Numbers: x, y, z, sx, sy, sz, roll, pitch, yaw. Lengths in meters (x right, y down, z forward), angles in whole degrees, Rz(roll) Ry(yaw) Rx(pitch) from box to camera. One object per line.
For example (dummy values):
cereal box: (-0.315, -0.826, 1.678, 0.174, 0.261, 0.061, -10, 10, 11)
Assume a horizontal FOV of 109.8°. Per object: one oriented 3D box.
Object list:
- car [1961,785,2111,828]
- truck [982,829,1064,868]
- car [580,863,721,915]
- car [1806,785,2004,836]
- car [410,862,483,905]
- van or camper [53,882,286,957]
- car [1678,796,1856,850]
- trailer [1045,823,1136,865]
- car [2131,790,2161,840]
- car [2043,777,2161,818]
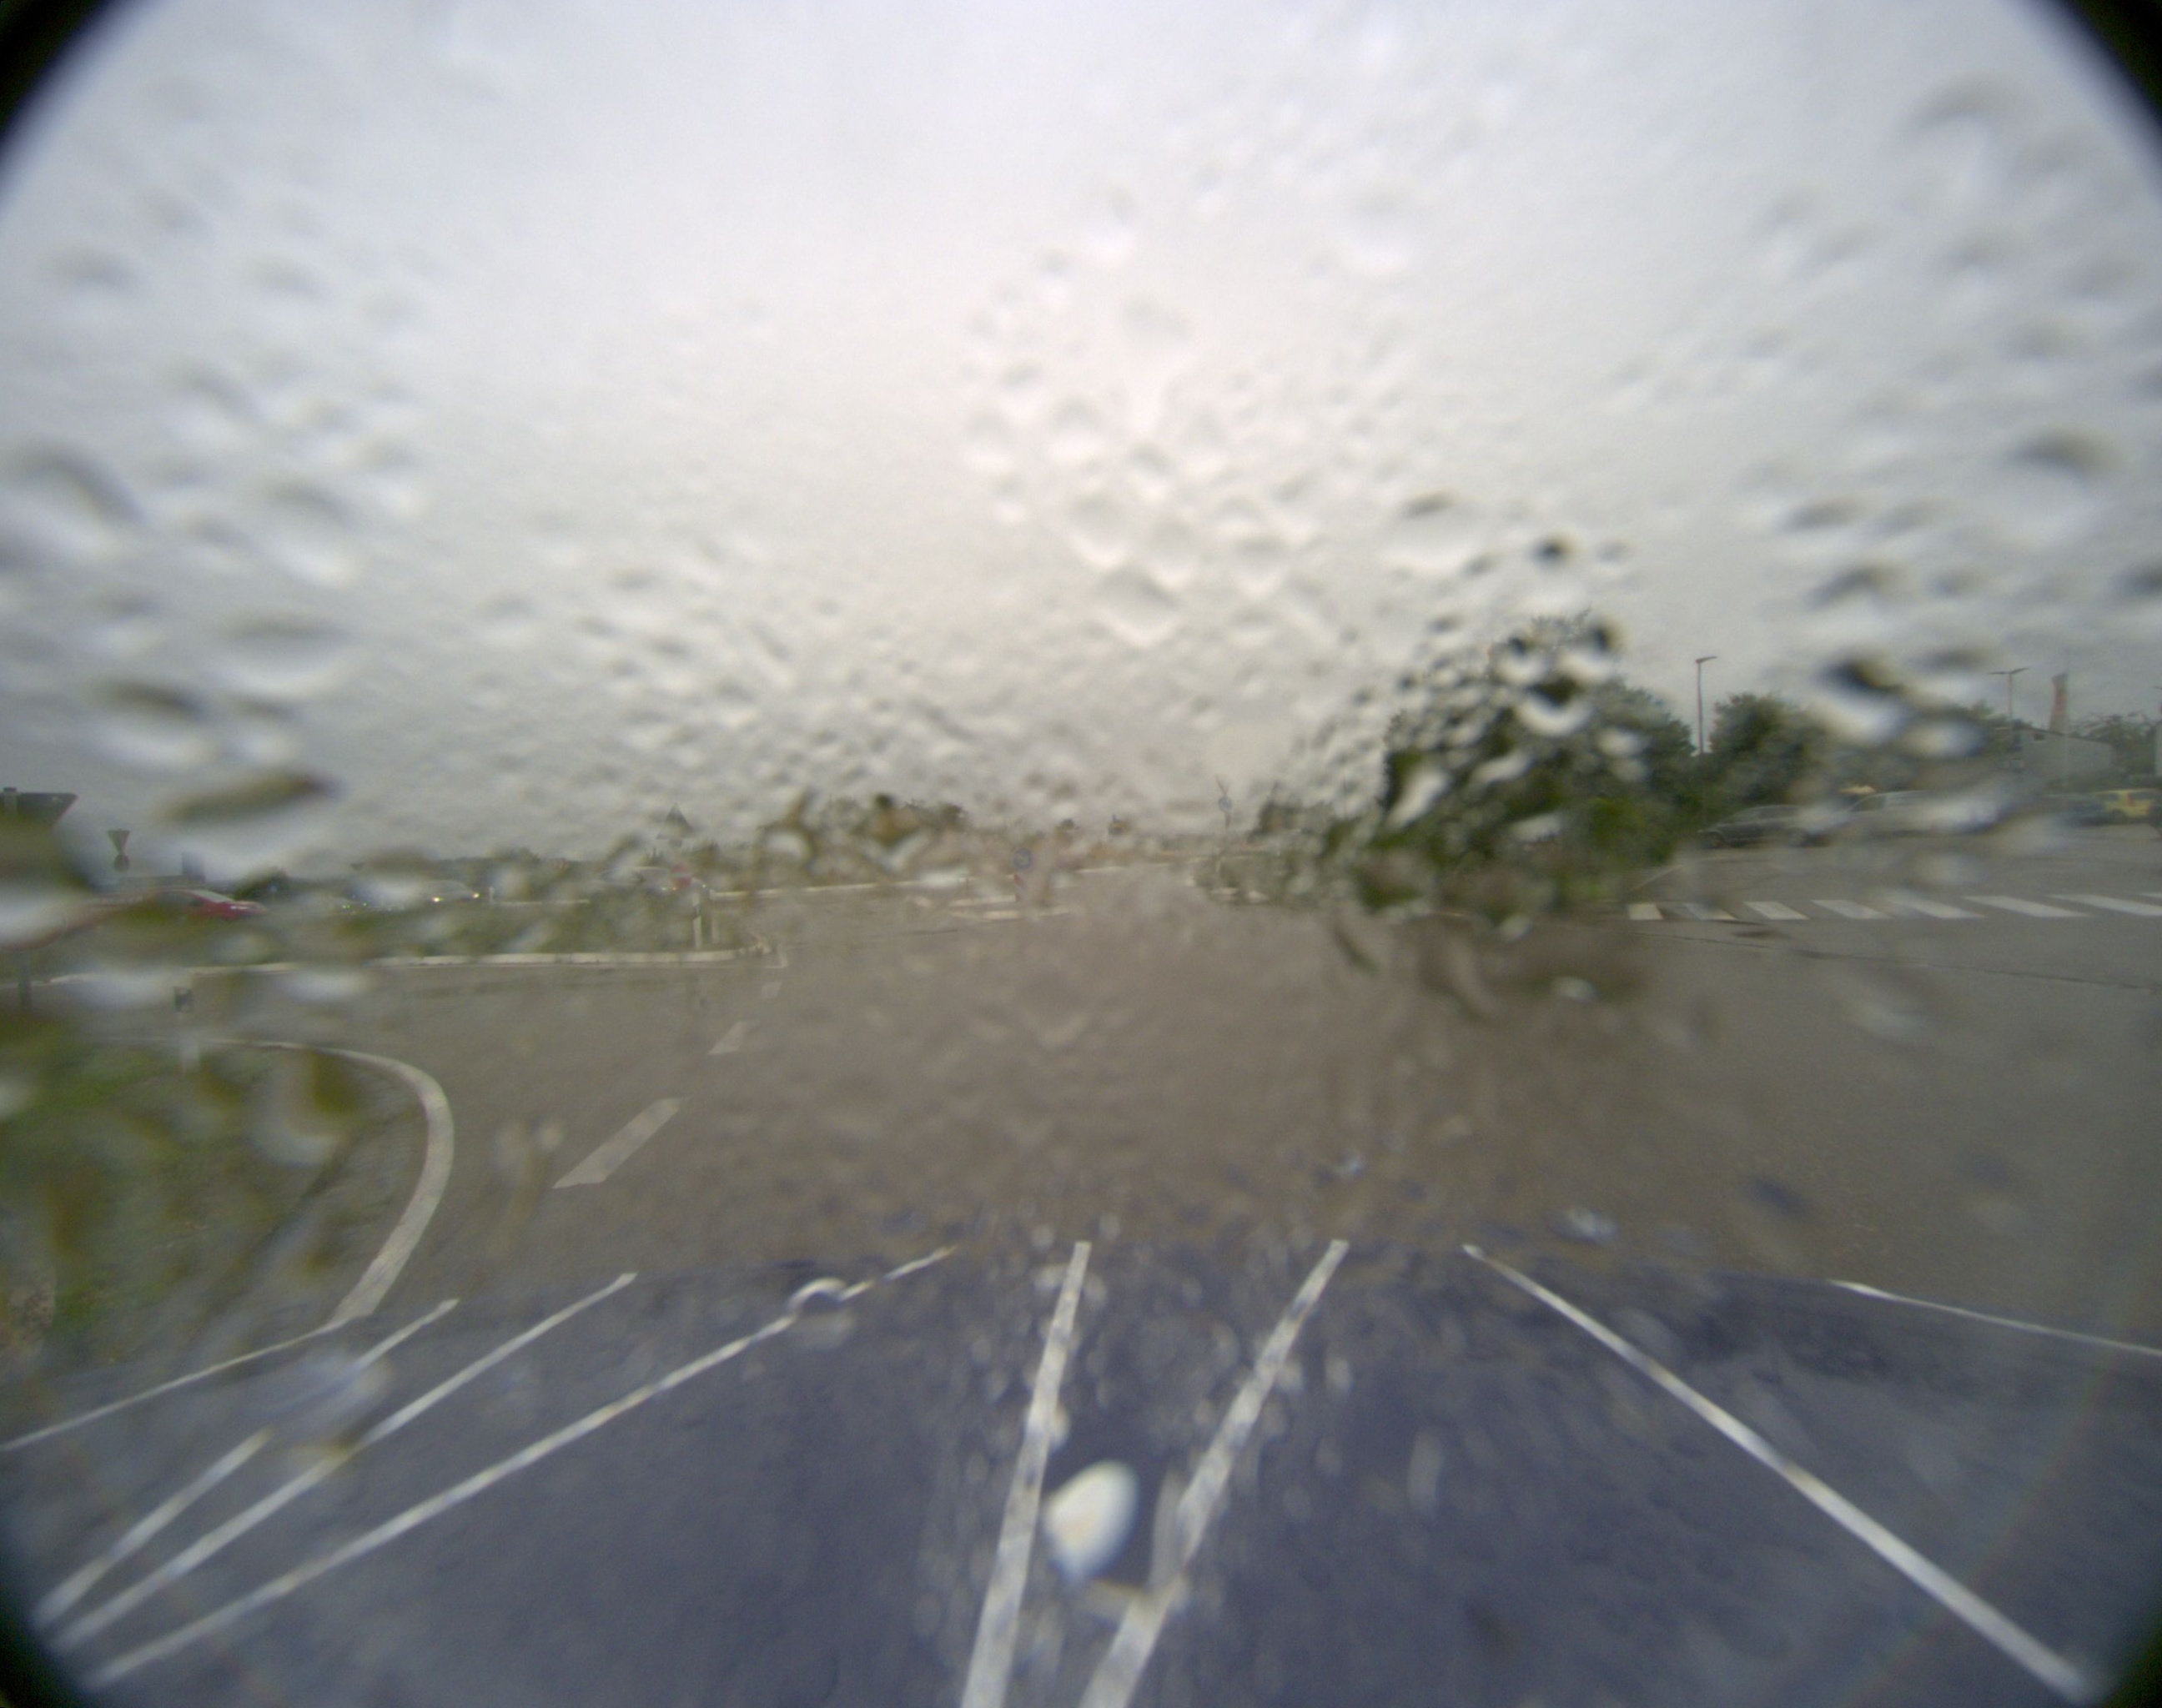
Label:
car: (42.831, -2.074, 34.269, 1.996, 1.541, 4.655, -3, 0, 19)
truck: (-6.279, -0.543, 81.741, 8.154, 3.577, 3.122, -4, 1, 31)
car: (-15.213, 1.245, 26.851, 4.489, 1.566, 2.002, -2, 3, 25)
car: (35.313, -1.822, 32.816, 2.002, 1.711, 5.369, -3, 0, -23)
car: (-27.541, 1.267, 32.948, 3.989, 1.582, 1.829, -2, 5, 44)
van or camper: (-32.526, 2.265, 27.379, 4.854, 2.003, 1.995, -4, 4, -31)
car: (26.109, -1.118, 29.127, 2.002, 1.711, 4.601, -3, 0, -23)
trailer: (0.888, -0.983, 76.868, 8.836, 3.593, 3.106, -4, 1, 37)
car: (31.218, -1.107, 20.119, 1.703, 1.416, 4.365, -4, 1, 17)
car: (45.433, -2.456, 33.775, 1.663, 1.540, 3.732, -3, 0, 22)
